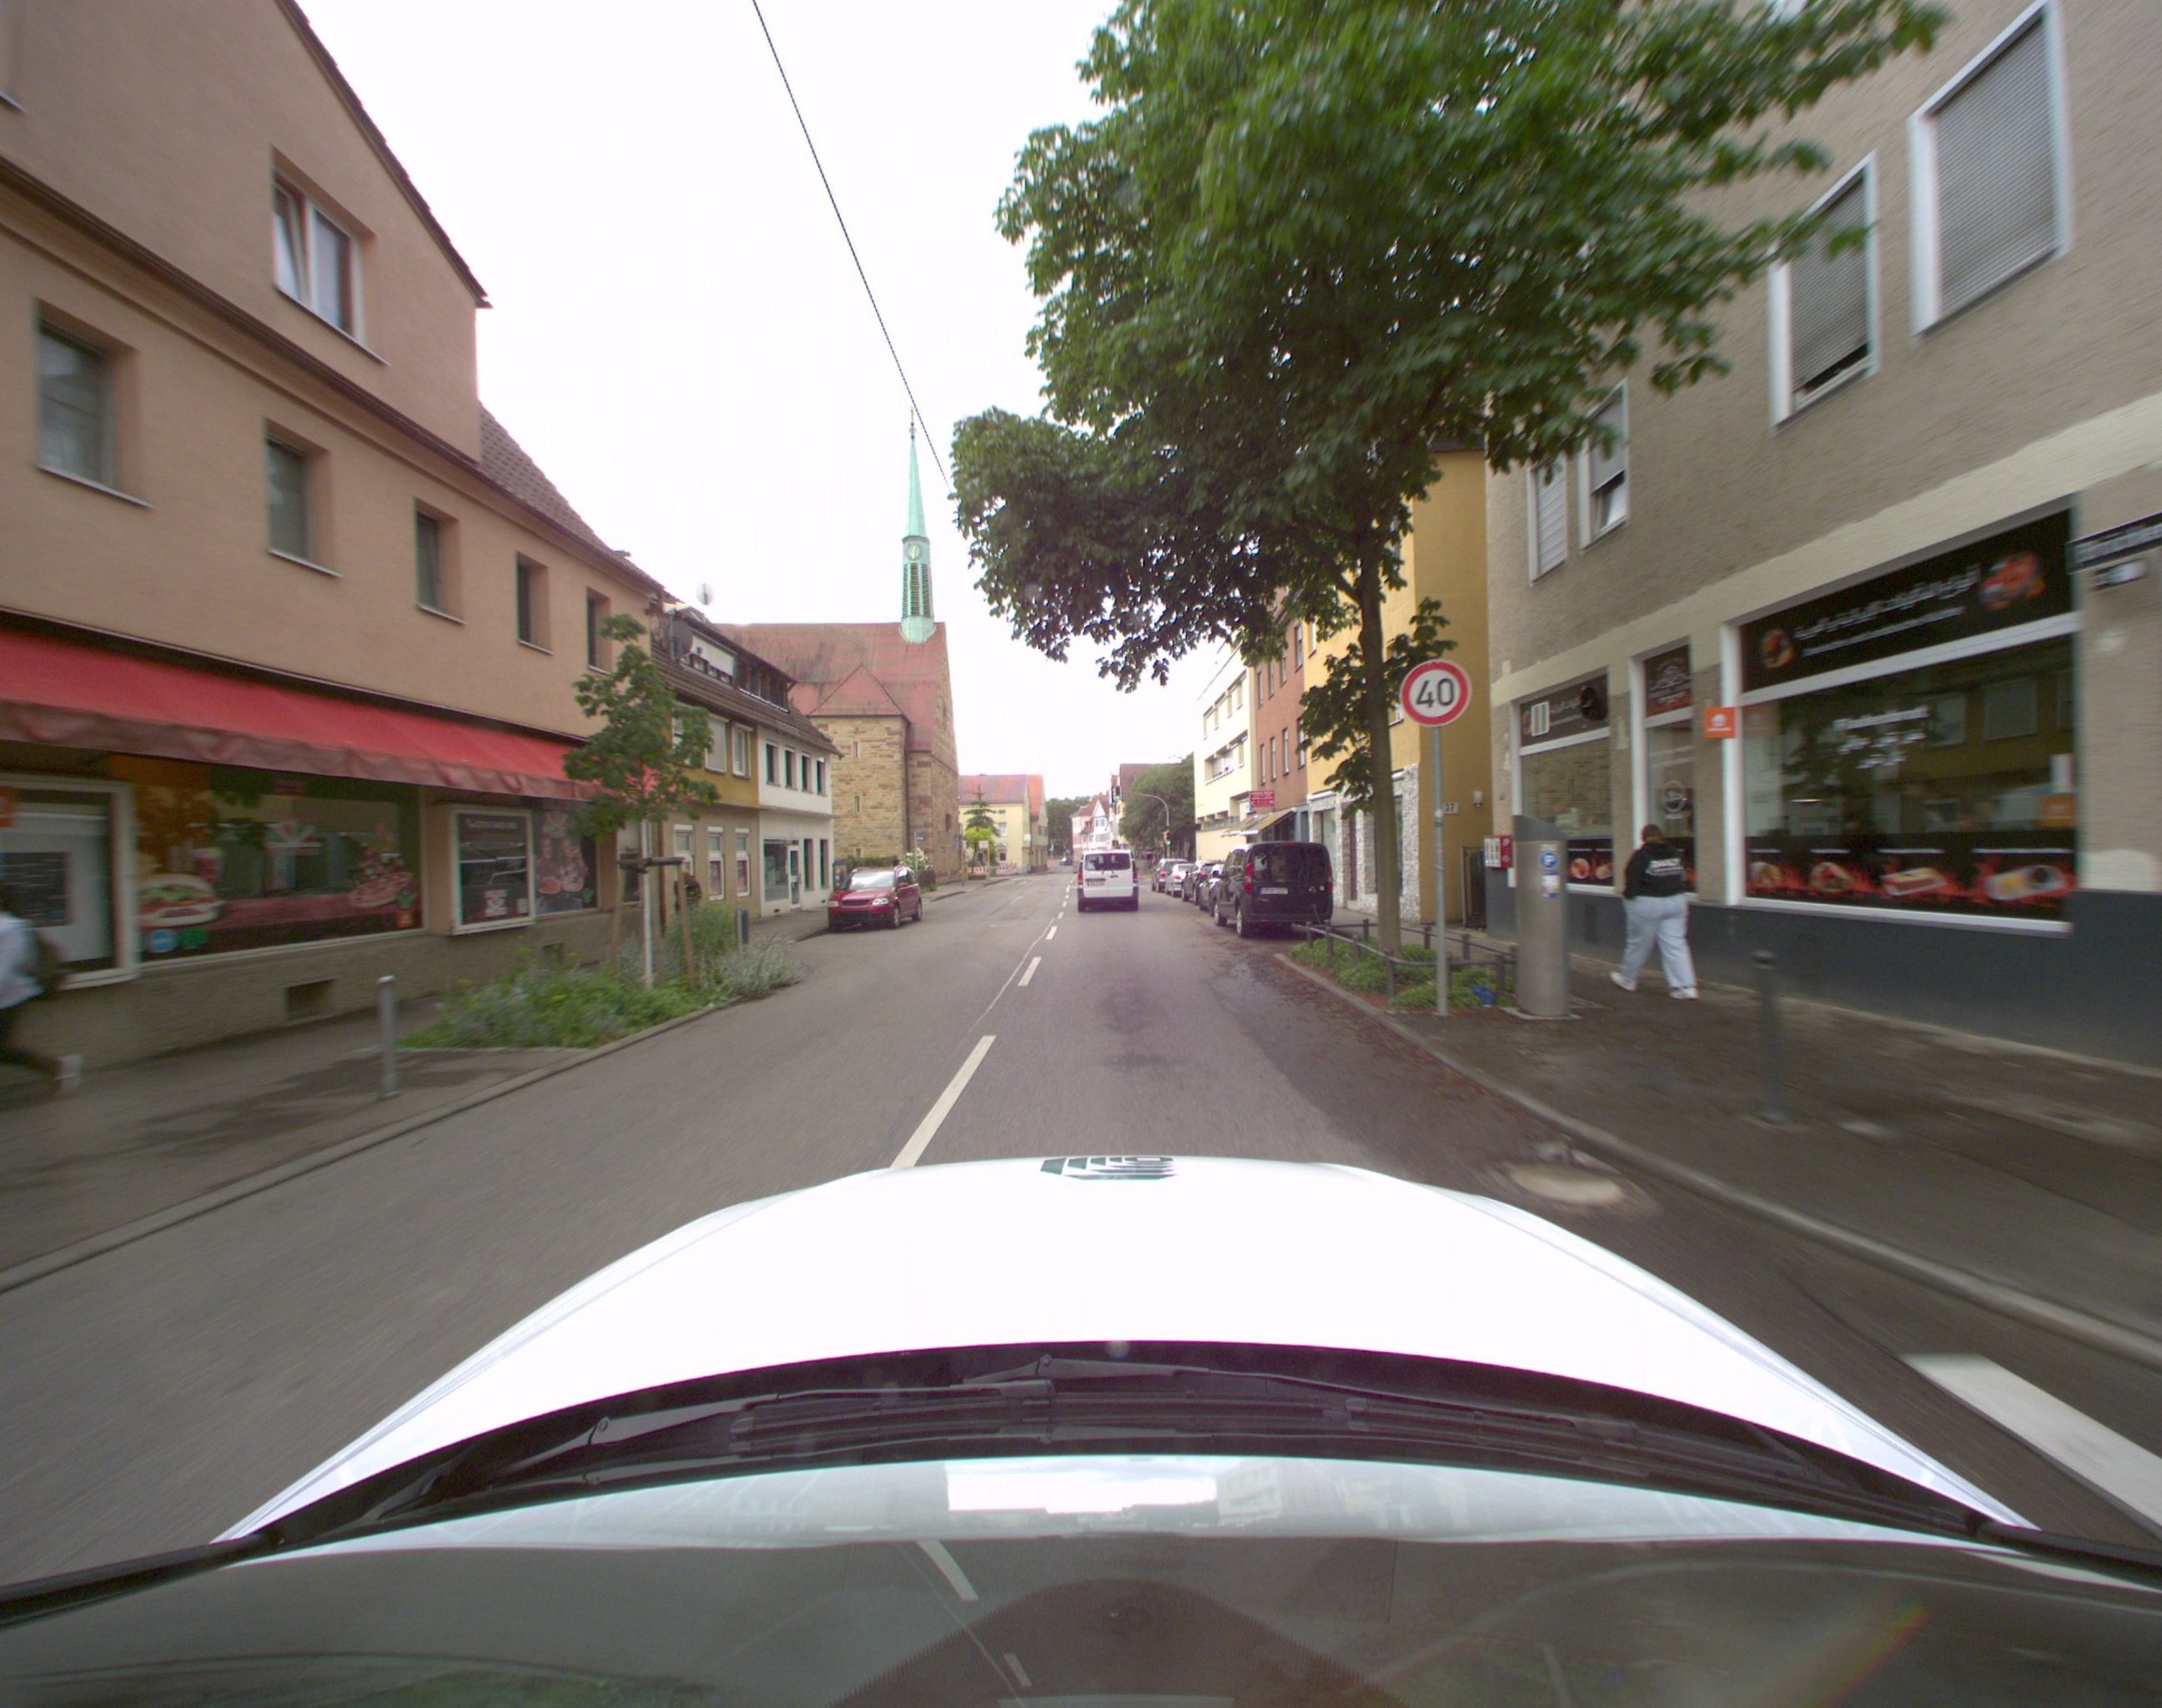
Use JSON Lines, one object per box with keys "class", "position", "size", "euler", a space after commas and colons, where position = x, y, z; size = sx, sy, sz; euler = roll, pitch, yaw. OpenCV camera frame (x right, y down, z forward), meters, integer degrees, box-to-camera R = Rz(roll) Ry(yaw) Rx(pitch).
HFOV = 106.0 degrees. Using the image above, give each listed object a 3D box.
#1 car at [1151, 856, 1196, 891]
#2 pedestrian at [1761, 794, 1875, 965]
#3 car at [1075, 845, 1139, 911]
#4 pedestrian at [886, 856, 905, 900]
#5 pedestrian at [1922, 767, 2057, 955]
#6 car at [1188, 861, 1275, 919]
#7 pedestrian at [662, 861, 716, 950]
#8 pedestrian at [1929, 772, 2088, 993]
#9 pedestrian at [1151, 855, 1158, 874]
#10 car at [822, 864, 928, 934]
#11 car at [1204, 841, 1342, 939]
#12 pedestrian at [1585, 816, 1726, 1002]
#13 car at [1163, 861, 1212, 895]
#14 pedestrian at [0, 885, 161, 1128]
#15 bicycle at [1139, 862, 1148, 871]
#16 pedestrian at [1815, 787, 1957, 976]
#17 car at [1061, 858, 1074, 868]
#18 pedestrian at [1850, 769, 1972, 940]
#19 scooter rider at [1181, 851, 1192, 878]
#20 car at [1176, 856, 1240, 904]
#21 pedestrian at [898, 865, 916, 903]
{"class": "car", "position": [4.426, 0.911, 39.302], "size": [1.706, 1.560, 3.784], "euler": [-1, 0, 0]}
{"class": "pedestrian", "position": [6.969, 0.233, 7.721], "size": [0.565, 1.560, 0.556], "euler": [-1, -1, 1]}
{"class": "car", "position": [0.829, 0.729, 26.143], "size": [1.866, 1.912, 4.001], "euler": [-1, -1, 2]}
{"class": "pedestrian", "position": [-7.885, 1.004, 34.672], "size": [0.569, 1.848, 0.697], "euler": [1, 0, 1]}
{"class": "pedestrian", "position": [7.859, 0.058, 7.066], "size": [0.565, 1.560, 0.521], "euler": [-1, -1, 1]}
{"class": "car", "position": [4.195, 0.957, 23.337], "size": [1.744, 1.406, 4.513], "euler": [-2, 0, 2]}
{"class": "pedestrian", "position": [-7.489, 0.965, 15.587], "size": [0.731, 1.628, 0.755], "euler": [-2, 0, -13]}
{"class": "pedestrian", "position": [6.826, 0.200, 6.017], "size": [0.565, 1.560, 0.521], "euler": [-1, -1, 1]}
{"class": "pedestrian", "position": [6.939, 0.957, 76.501], "size": [0.599, 1.715, 0.861], "euler": [-1, 0, 7]}
{"class": "car", "position": [-5.606, 1.167, 22.739], "size": [1.697, 1.574, 4.450], "euler": [-3, 1, 0]}
{"class": "car", "position": [3.906, 0.675, 17.326], "size": [1.814, 1.781, 4.401], "euler": [-1, 0, -1]}
{"class": "pedestrian", "position": [5.483, 0.492, 7.830], "size": [0.612, 1.652, 0.982], "euler": [-2, 0, 0]}
{"class": "car", "position": [4.479, 0.985, 34.698], "size": [1.546, 1.333, 3.811], "euler": [-1, 0, 0]}
{"class": "pedestrian", "position": [-7.368, 1.009, 5.686], "size": [0.736, 1.535, 0.982], "euler": [-1, 0, 0]}
{"class": "bicycle", "position": [7.778, 1.522, 100.938], "size": [0.501, 1.106, 1.627], "euler": [-2, 0, -20]}
{"class": "pedestrian", "position": [6.974, 0.230, 7.085], "size": [0.565, 1.560, 0.655], "euler": [-1, -1, 1]}
{"class": "car", "position": [-2.951, 1.987, 176.582], "size": [1.938, 2.014, 3.980], "euler": [0, 0, -15]}
{"class": "pedestrian", "position": [7.853, 0.003, 7.726], "size": [0.565, 1.560, 0.561], "euler": [-1, -1, 1]}
{"class": "scooter rider", "position": [6.527, 0.677, 50.363], "size": [0.453, 1.631, 0.502], "euler": [-4, -2, -14]}
{"class": "car", "position": [4.470, 0.871, 29.203], "size": [1.597, 1.518, 4.208], "euler": [-2, 0, 0]}
{"class": "pedestrian", "position": [-7.231, 1.249, 33.912], "size": [0.569, 1.554, 0.697], "euler": [0, 0, 1]}
